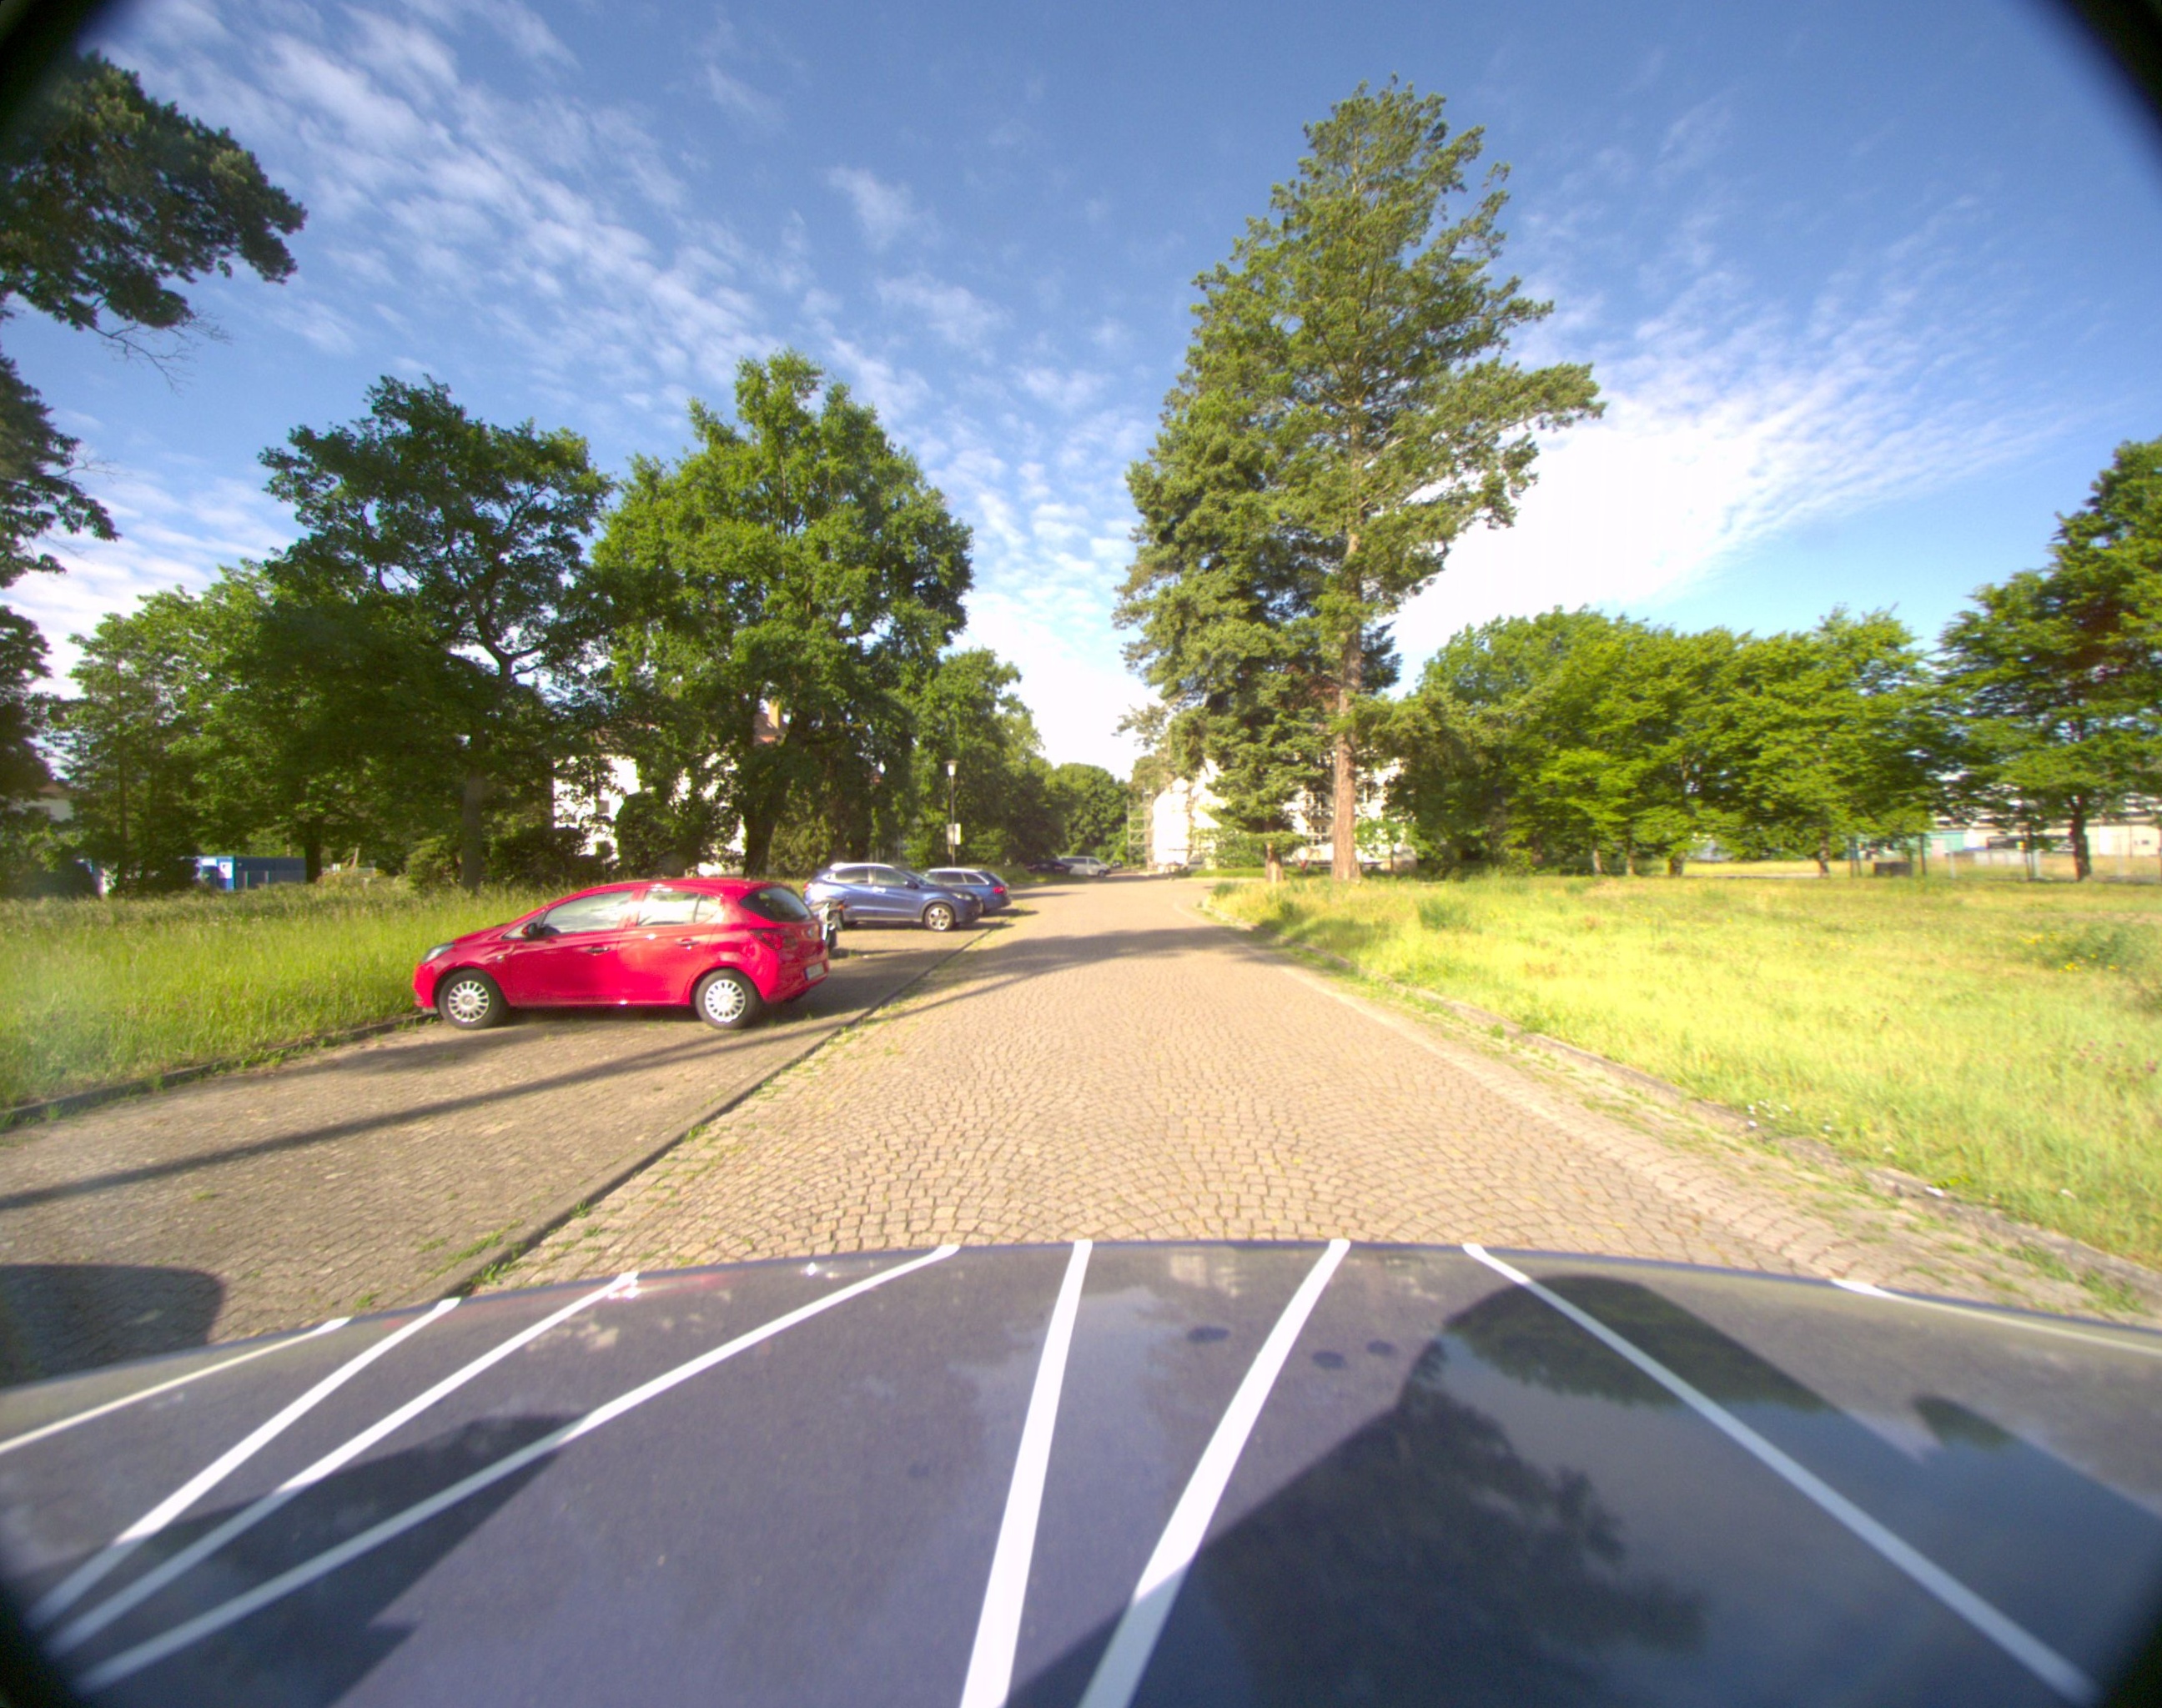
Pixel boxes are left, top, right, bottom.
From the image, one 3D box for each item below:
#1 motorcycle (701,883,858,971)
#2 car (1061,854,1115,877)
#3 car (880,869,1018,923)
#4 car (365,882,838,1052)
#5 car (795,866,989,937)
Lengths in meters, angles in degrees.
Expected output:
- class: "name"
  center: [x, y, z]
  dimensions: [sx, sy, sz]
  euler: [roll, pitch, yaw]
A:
- class: "motorcycle"
  center: [-4.980, 1.193, 12.652]
  dimensions: [2.235, 1.345, 0.879]
  euler: [-1, 0, 3]
- class: "car"
  center: [0.603, 1.076, 71.797]
  dimensions: [4.993, 2.123, 2.165]
  euler: [-1, 0, -1]
- class: "car"
  center: [-3.947, 1.239, 23.076]
  dimensions: [3.809, 1.457, 1.747]
  euler: [-1, 0, 2]
- class: "car"
  center: [-4.836, 1.109, 8.041]
  dimensions: [3.997, 1.486, 1.540]
  euler: [-1, 0, 0]
- class: "car"
  center: [-4.458, 1.102, 18.326]
  dimensions: [4.273, 1.589, 1.651]
  euler: [0, 0, 0]
